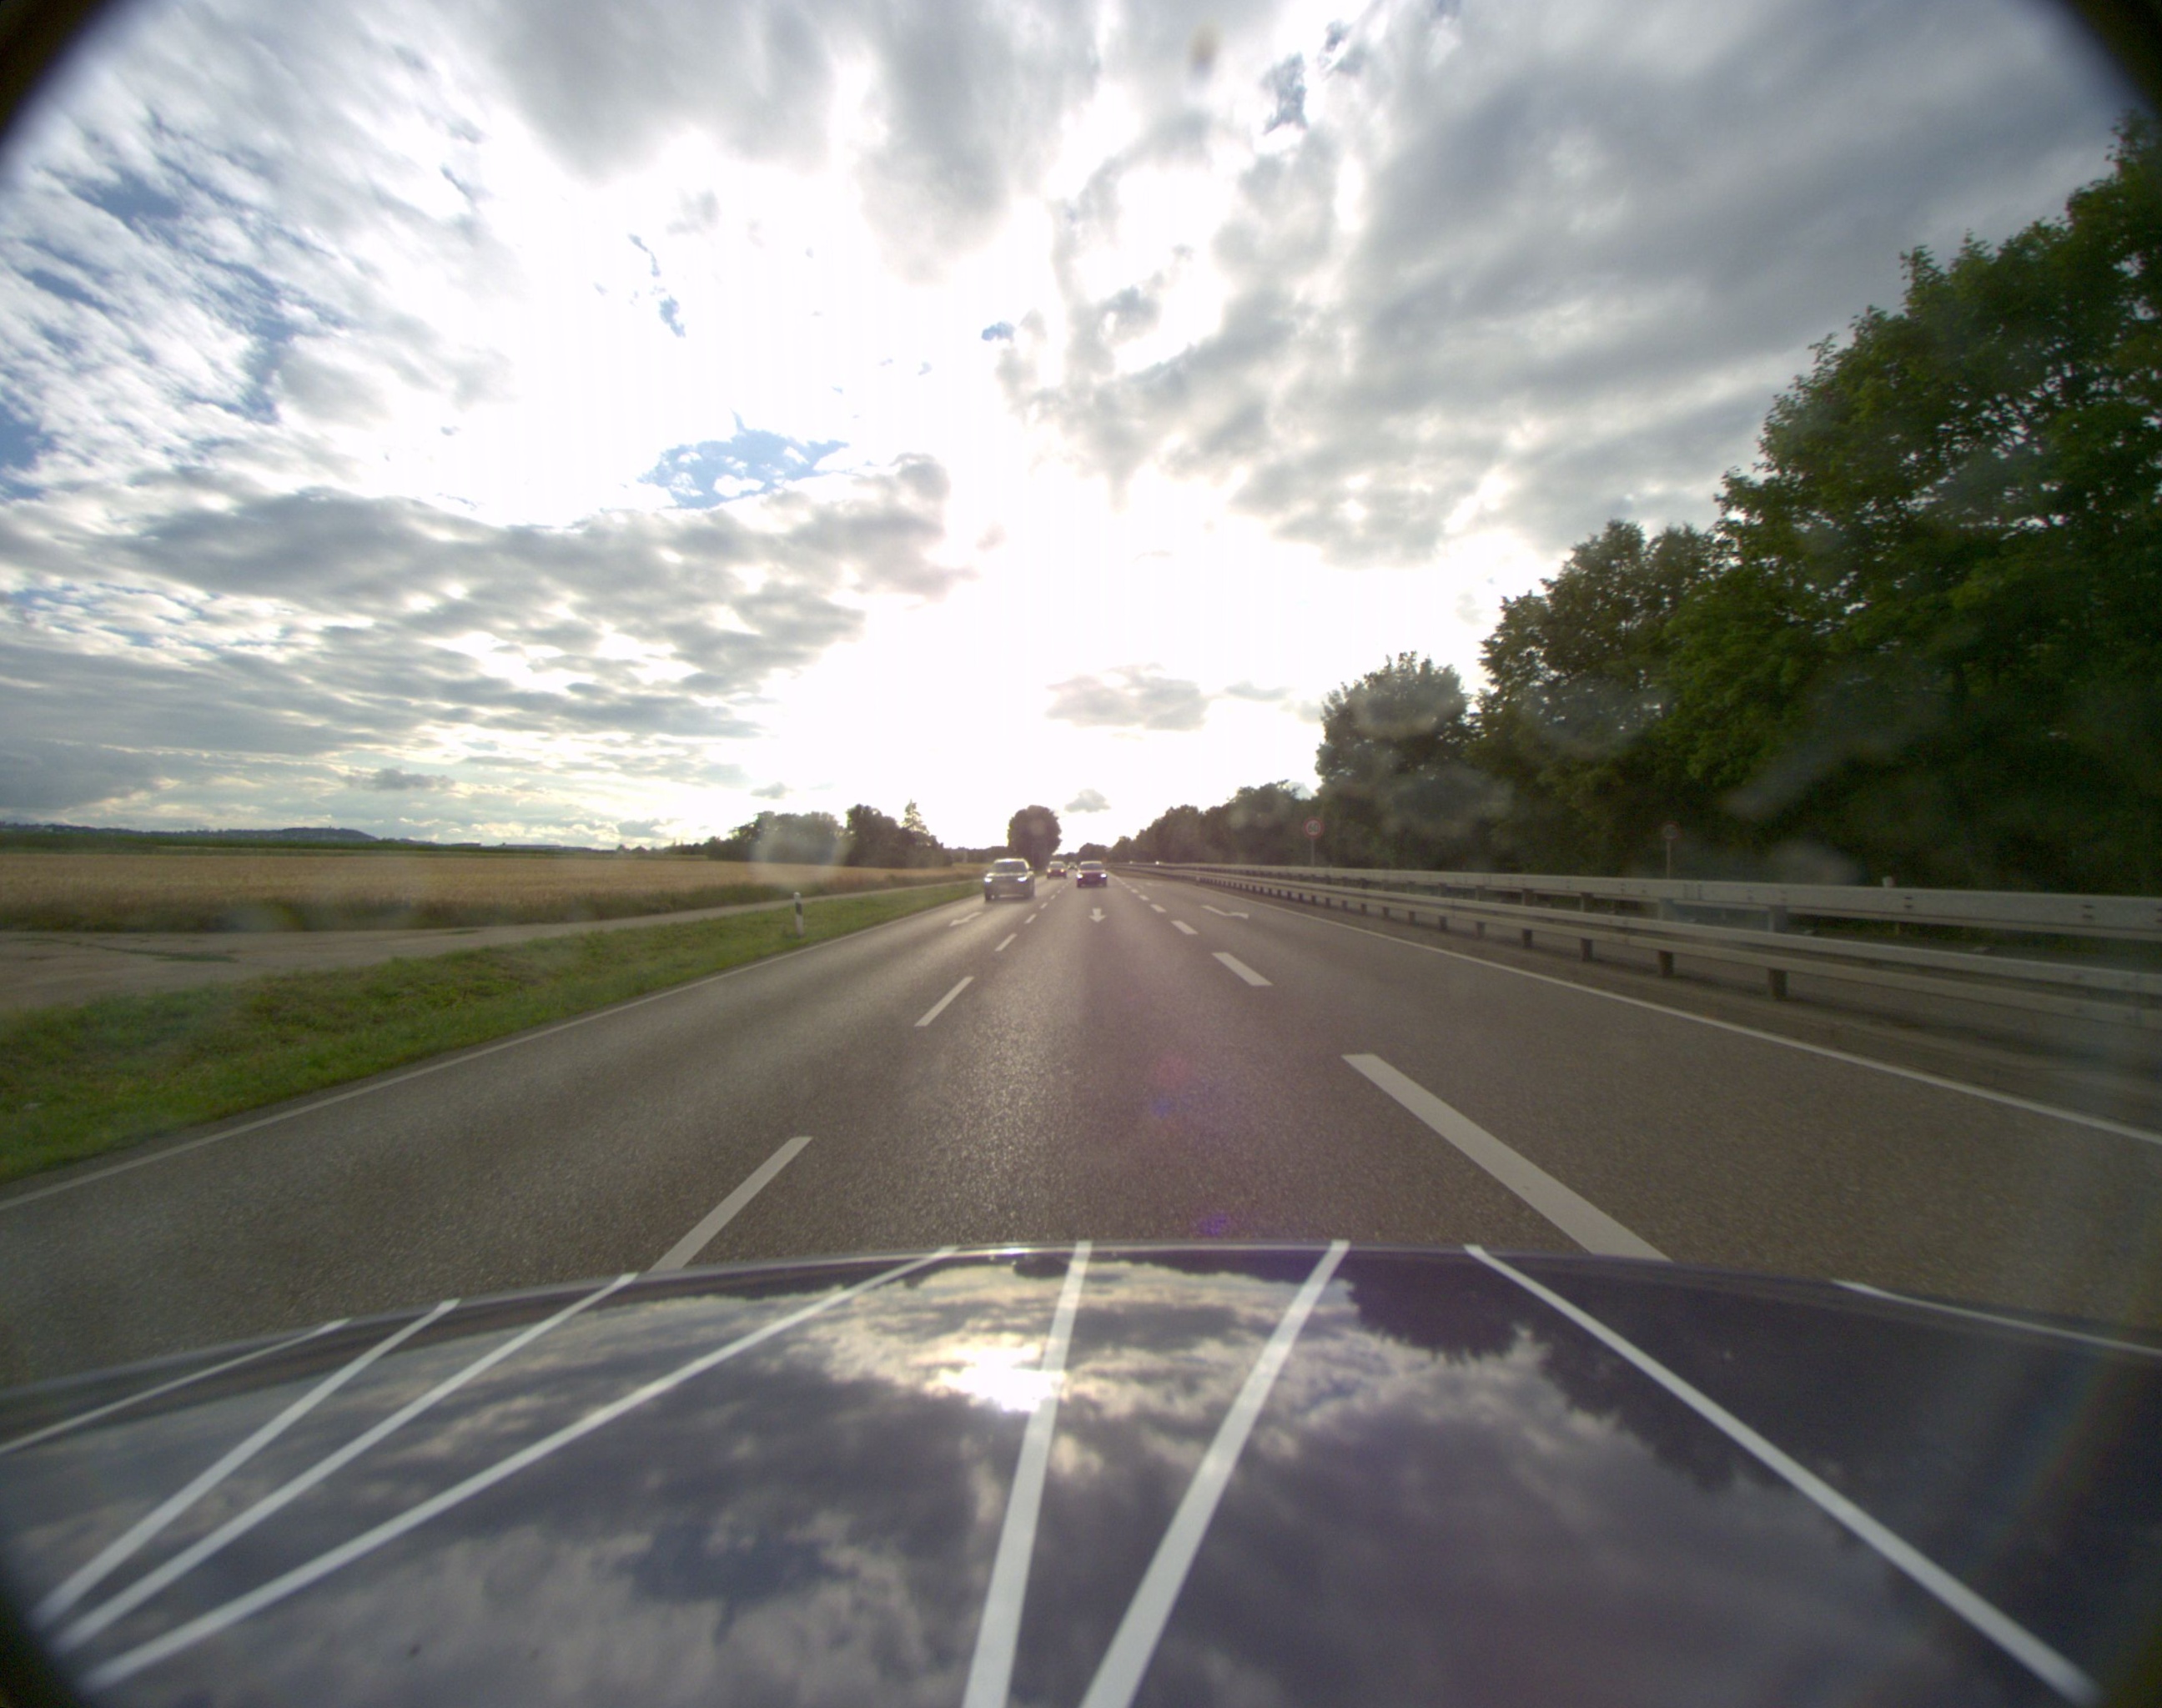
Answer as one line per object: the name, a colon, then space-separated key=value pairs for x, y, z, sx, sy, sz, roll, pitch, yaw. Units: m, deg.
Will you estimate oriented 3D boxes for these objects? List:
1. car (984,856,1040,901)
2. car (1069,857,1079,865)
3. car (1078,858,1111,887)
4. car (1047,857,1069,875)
car: x=-2.890 y=0.982 z=32.759 sx=1.841 sy=1.698 sz=4.556 roll=-2 pitch=1 yaw=1
car: x=-1.378 y=1.441 z=148.962 sx=1.799 sy=1.448 sz=4.032 roll=-2 pitch=0 yaw=1
car: x=0.779 y=0.992 z=42.865 sx=1.712 sy=1.448 sz=4.061 roll=-2 pitch=1 yaw=1
car: x=-2.022 y=1.020 z=67.753 sx=1.712 sy=1.448 sz=3.908 roll=-2 pitch=1 yaw=1
